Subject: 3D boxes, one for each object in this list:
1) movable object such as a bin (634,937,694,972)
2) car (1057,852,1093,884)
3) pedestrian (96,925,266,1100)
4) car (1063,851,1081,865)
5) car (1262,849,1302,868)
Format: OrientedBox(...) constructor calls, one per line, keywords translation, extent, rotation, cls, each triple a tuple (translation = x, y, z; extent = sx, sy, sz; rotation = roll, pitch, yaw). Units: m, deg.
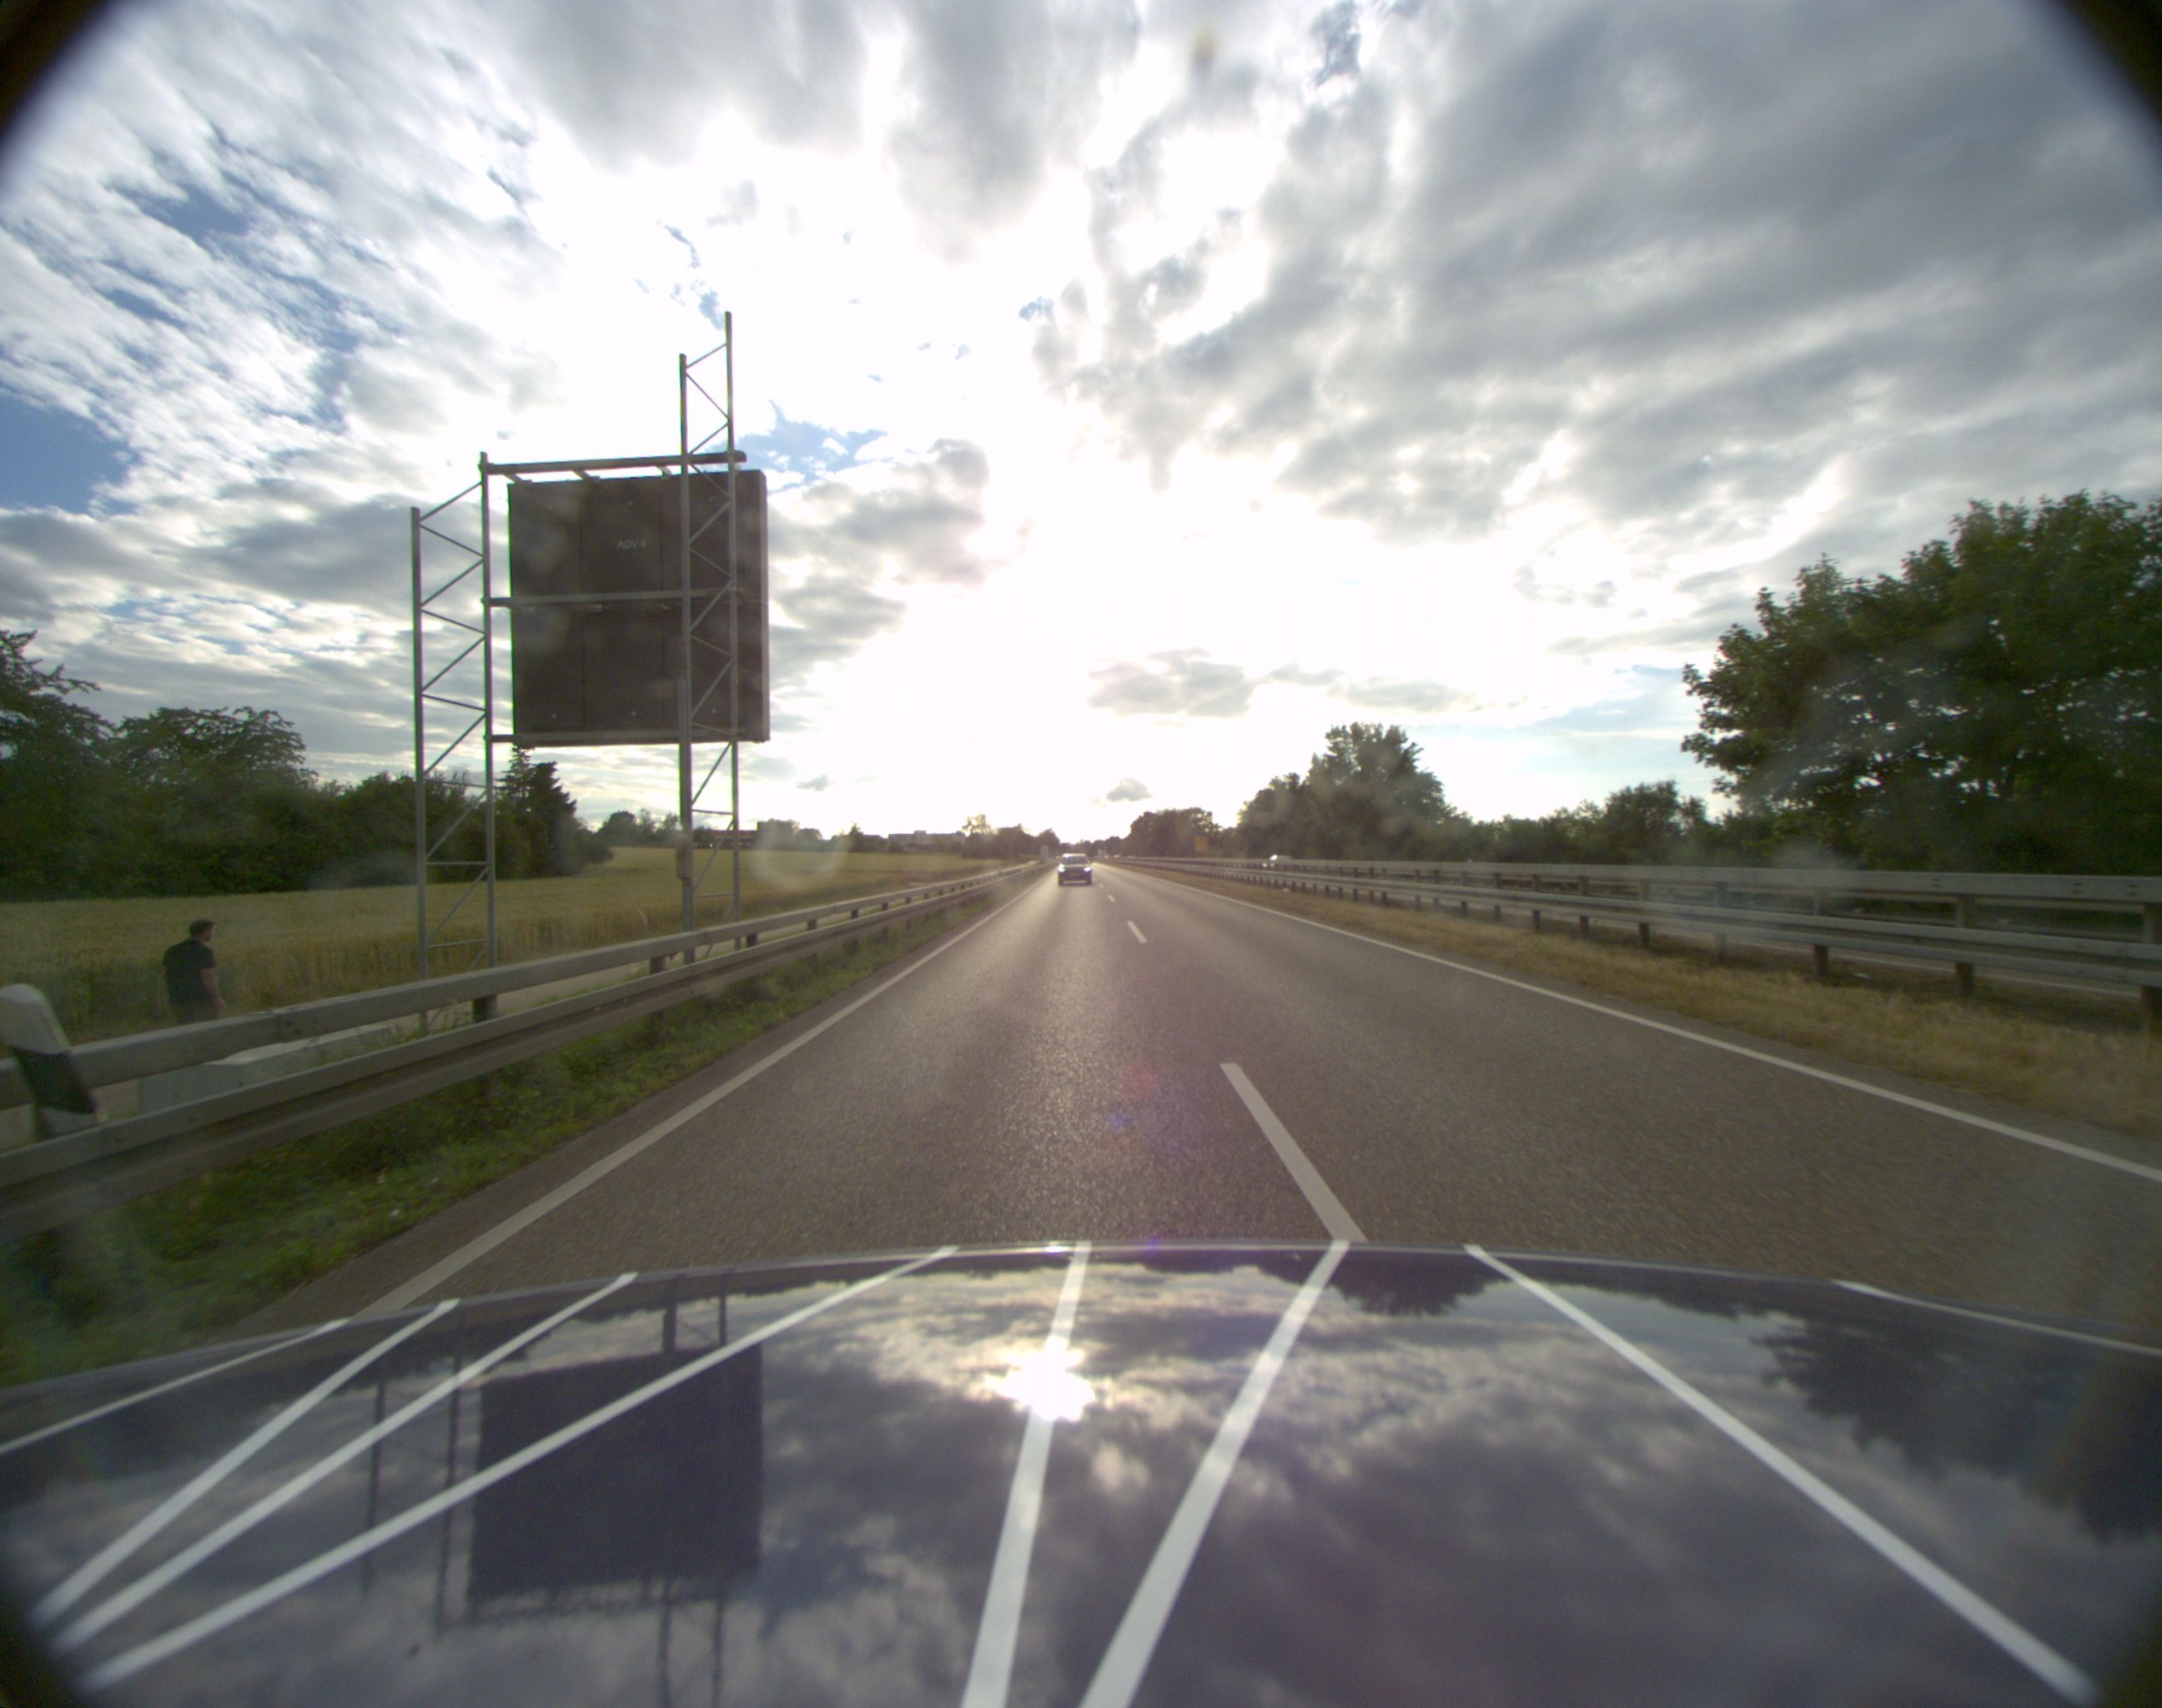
OrientedBox(translation=(-10.094, 2.420, 18.442), extent=(0.734, 0.642, 1.235), rotation=(-3, 1, 0), cls="movable object such as a bin")
OrientedBox(translation=(-0.329, 0.734, 42.673), extent=(1.863, 1.636, 3.999), rotation=(-2, 1, 0), cls="car")
OrientedBox(translation=(-10.740, 1.849, 9.112), extent=(0.773, 1.857, 0.940), rotation=(-3, 1, 0), cls="pedestrian")
OrientedBox(translation=(-0.972, 0.398, 80.413), extent=(1.775, 1.389, 3.999), rotation=(-2, 1, -1), cls="car")
OrientedBox(translation=(14.789, 0.285, 56.146), extent=(1.785, 1.344, 4.576), rotation=(0, 0, 0), cls="car")
